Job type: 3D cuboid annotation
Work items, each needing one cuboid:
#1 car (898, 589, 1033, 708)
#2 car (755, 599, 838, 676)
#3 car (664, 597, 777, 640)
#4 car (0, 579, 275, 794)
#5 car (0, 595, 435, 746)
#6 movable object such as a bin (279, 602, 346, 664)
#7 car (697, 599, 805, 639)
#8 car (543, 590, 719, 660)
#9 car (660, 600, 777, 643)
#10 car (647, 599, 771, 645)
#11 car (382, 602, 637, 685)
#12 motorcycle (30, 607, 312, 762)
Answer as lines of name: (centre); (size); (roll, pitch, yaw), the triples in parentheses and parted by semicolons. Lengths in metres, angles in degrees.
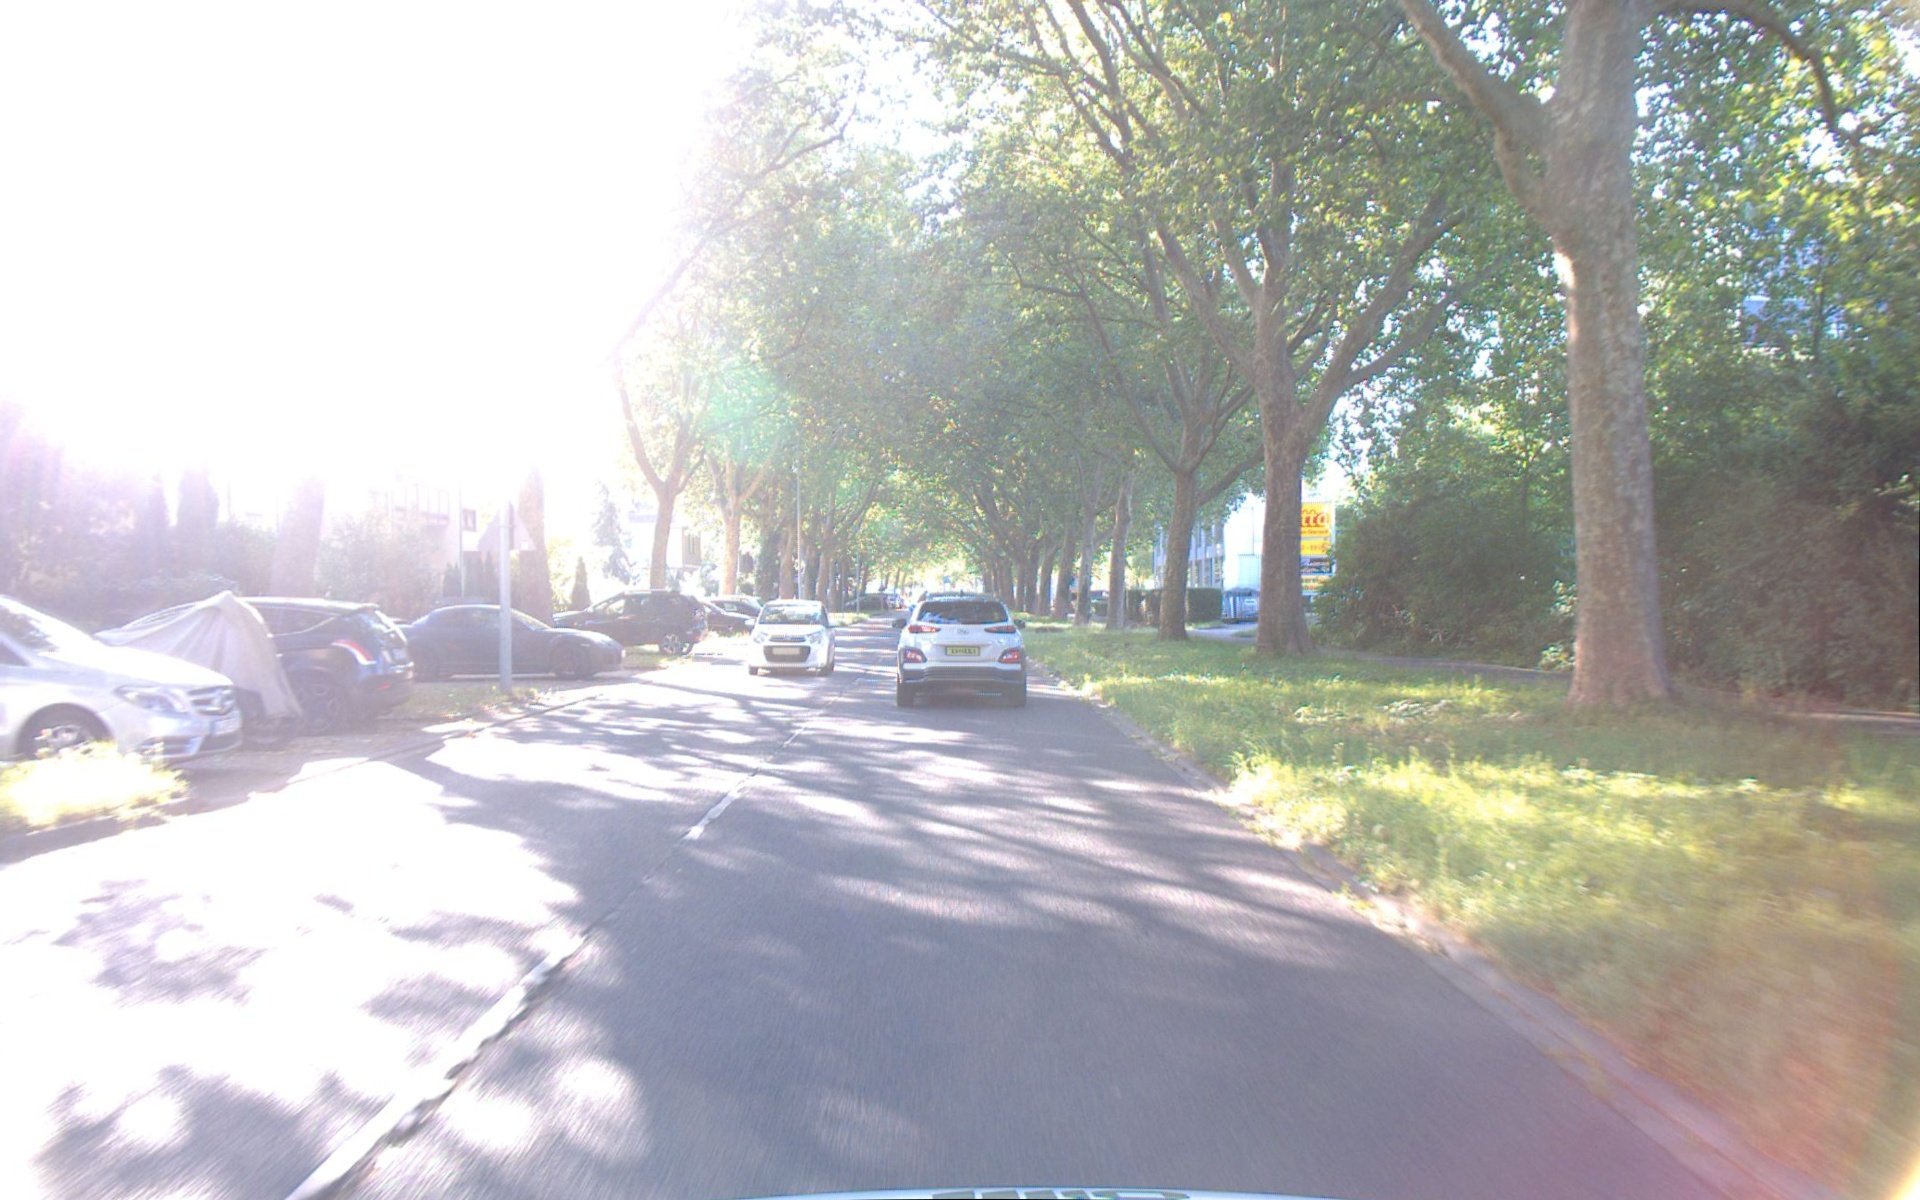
car: (0.043, 0.663, 23.991); (1.798, 1.583, 3.999); (0, -1, -1)
car: (-3.289, 0.725, 33.645); (1.505, 1.484, 3.183); (0, 0, -3)
car: (-8.758, 0.661, 60.724); (3.906, 1.546, 1.808); (0, 0, -2)
car: (-8.006, 0.665, 13.398); (4.102, 1.612, 1.998); (0, 0, -6)
car: (-8.136, 0.739, 18.356); (4.079, 1.532, 1.800); (-1, 0, -5)
movable object such as a bin: (-14.816, 0.759, 37.869); (1.161, 1.374, 0.953); (-1, -1, -1)
car: (-7.980, 0.721, 63.457); (3.905, 1.496, 1.809); (0, 0, 0)
car: (-8.351, 0.619, 42.239); (4.158, 1.709, 1.670); (0, 0, -1)
car: (-8.417, 0.741, 57.880); (3.909, 1.449, 1.807); (0, 0, -5)
car: (-8.380, 0.718, 55.489); (3.906, 1.496, 1.780); (0, 0, -2)
car: (-8.125, 0.768, 30.088); (4.155, 1.376, 1.740); (-1, 0, -3)
motorcycle: (-7.523, 0.787, 15.855); (2.339, 1.413, 0.647); (-1, -1, -7)
